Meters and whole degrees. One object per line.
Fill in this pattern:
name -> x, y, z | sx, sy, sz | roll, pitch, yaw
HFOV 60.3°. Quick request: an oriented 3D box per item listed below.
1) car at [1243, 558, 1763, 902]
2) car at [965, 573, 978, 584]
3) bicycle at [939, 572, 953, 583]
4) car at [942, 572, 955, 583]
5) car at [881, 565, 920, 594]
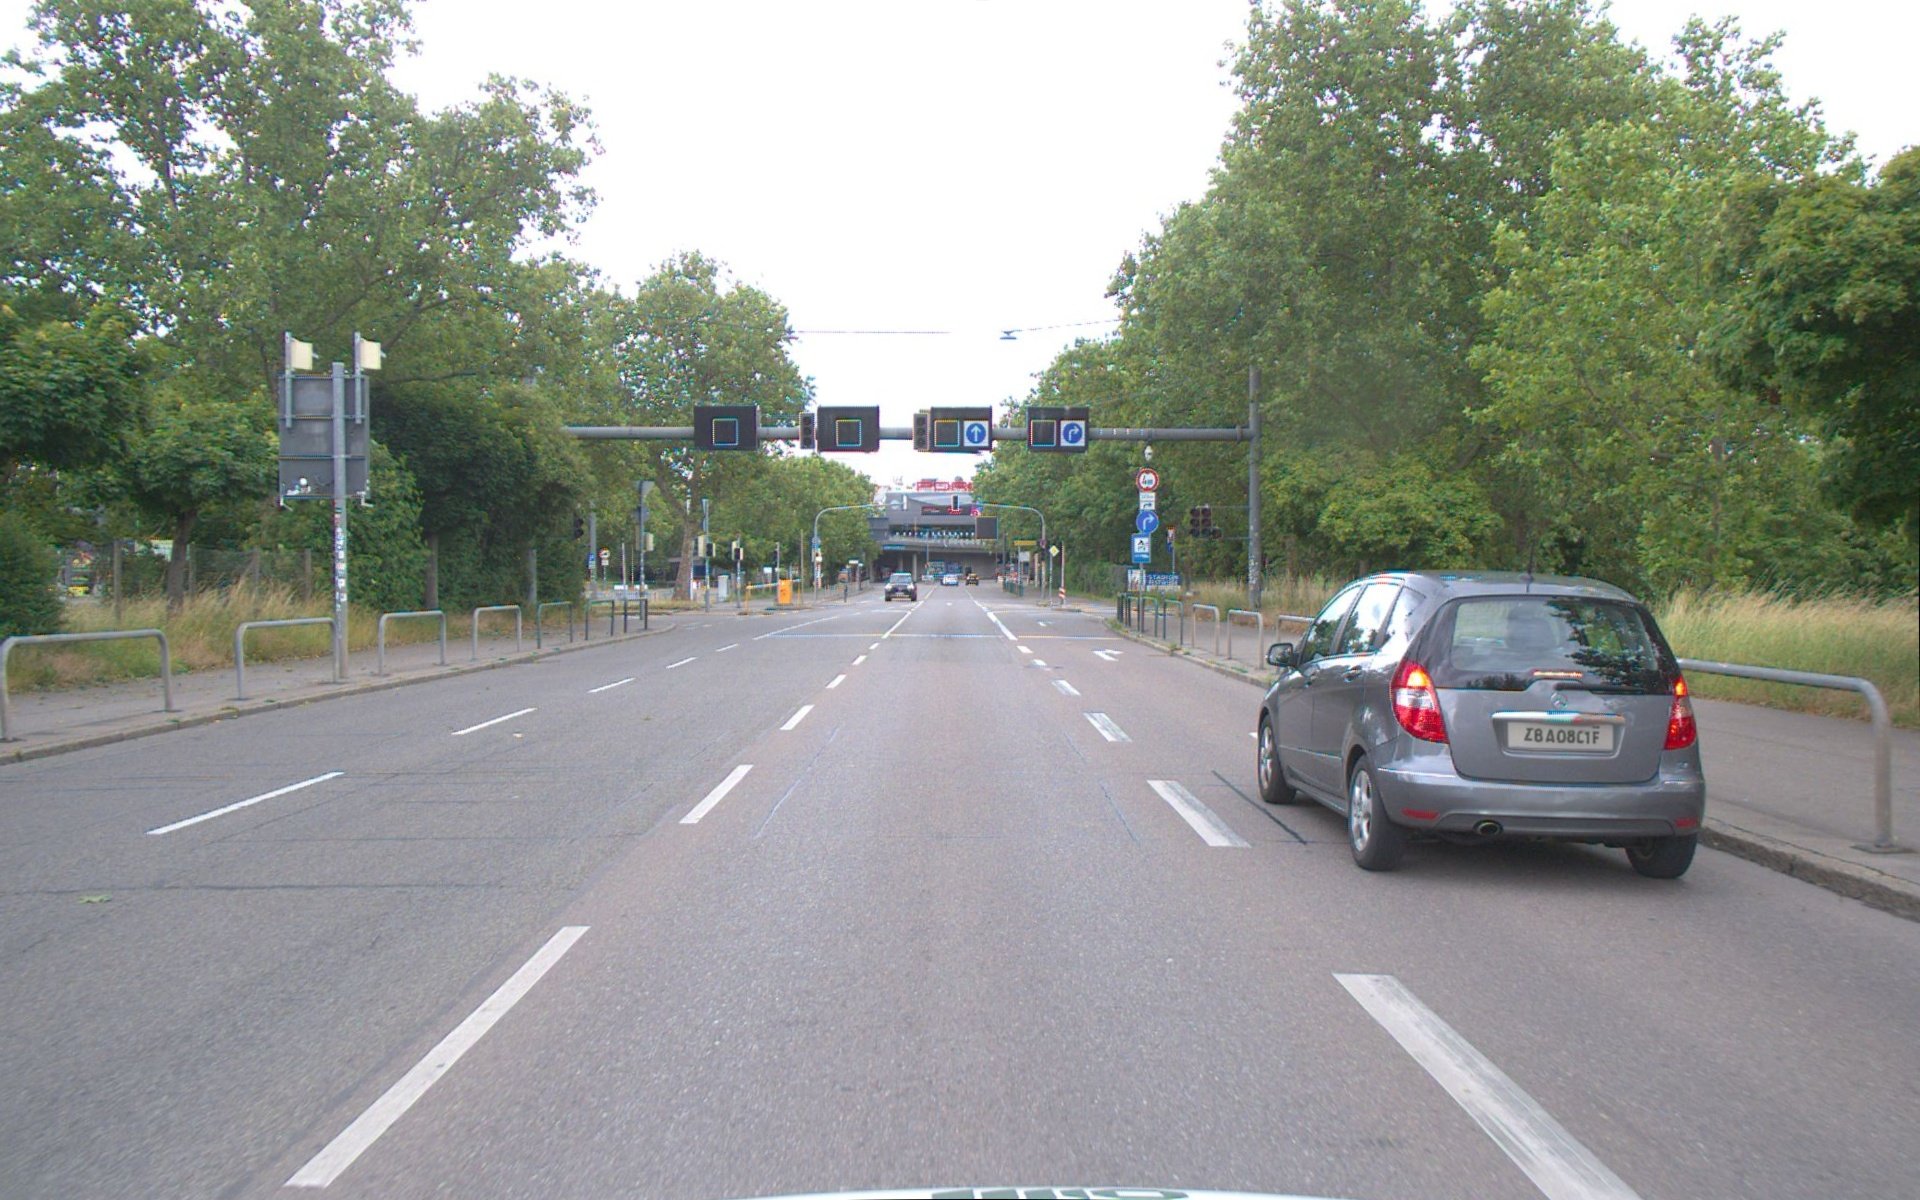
car -> 2.958, 0.578, 9.972 | 1.789, 1.644, 4.034 | 0, 1, 0
car -> 1.698, -3.251, 249.160 | 1.966, 1.728, 4.070 | 0, 0, 1
bicycle -> -1.974, -3.153, 234.852 | 1.953, 1.534, 3.999 | 0, 1, -1
car -> -1.544, -3.040, 225.227 | 1.742, 1.486, 3.822 | 1, 0, 1
car -> -3.617, -1.236, 101.165 | 1.952, 1.689, 4.519 | -2, 0, 3
